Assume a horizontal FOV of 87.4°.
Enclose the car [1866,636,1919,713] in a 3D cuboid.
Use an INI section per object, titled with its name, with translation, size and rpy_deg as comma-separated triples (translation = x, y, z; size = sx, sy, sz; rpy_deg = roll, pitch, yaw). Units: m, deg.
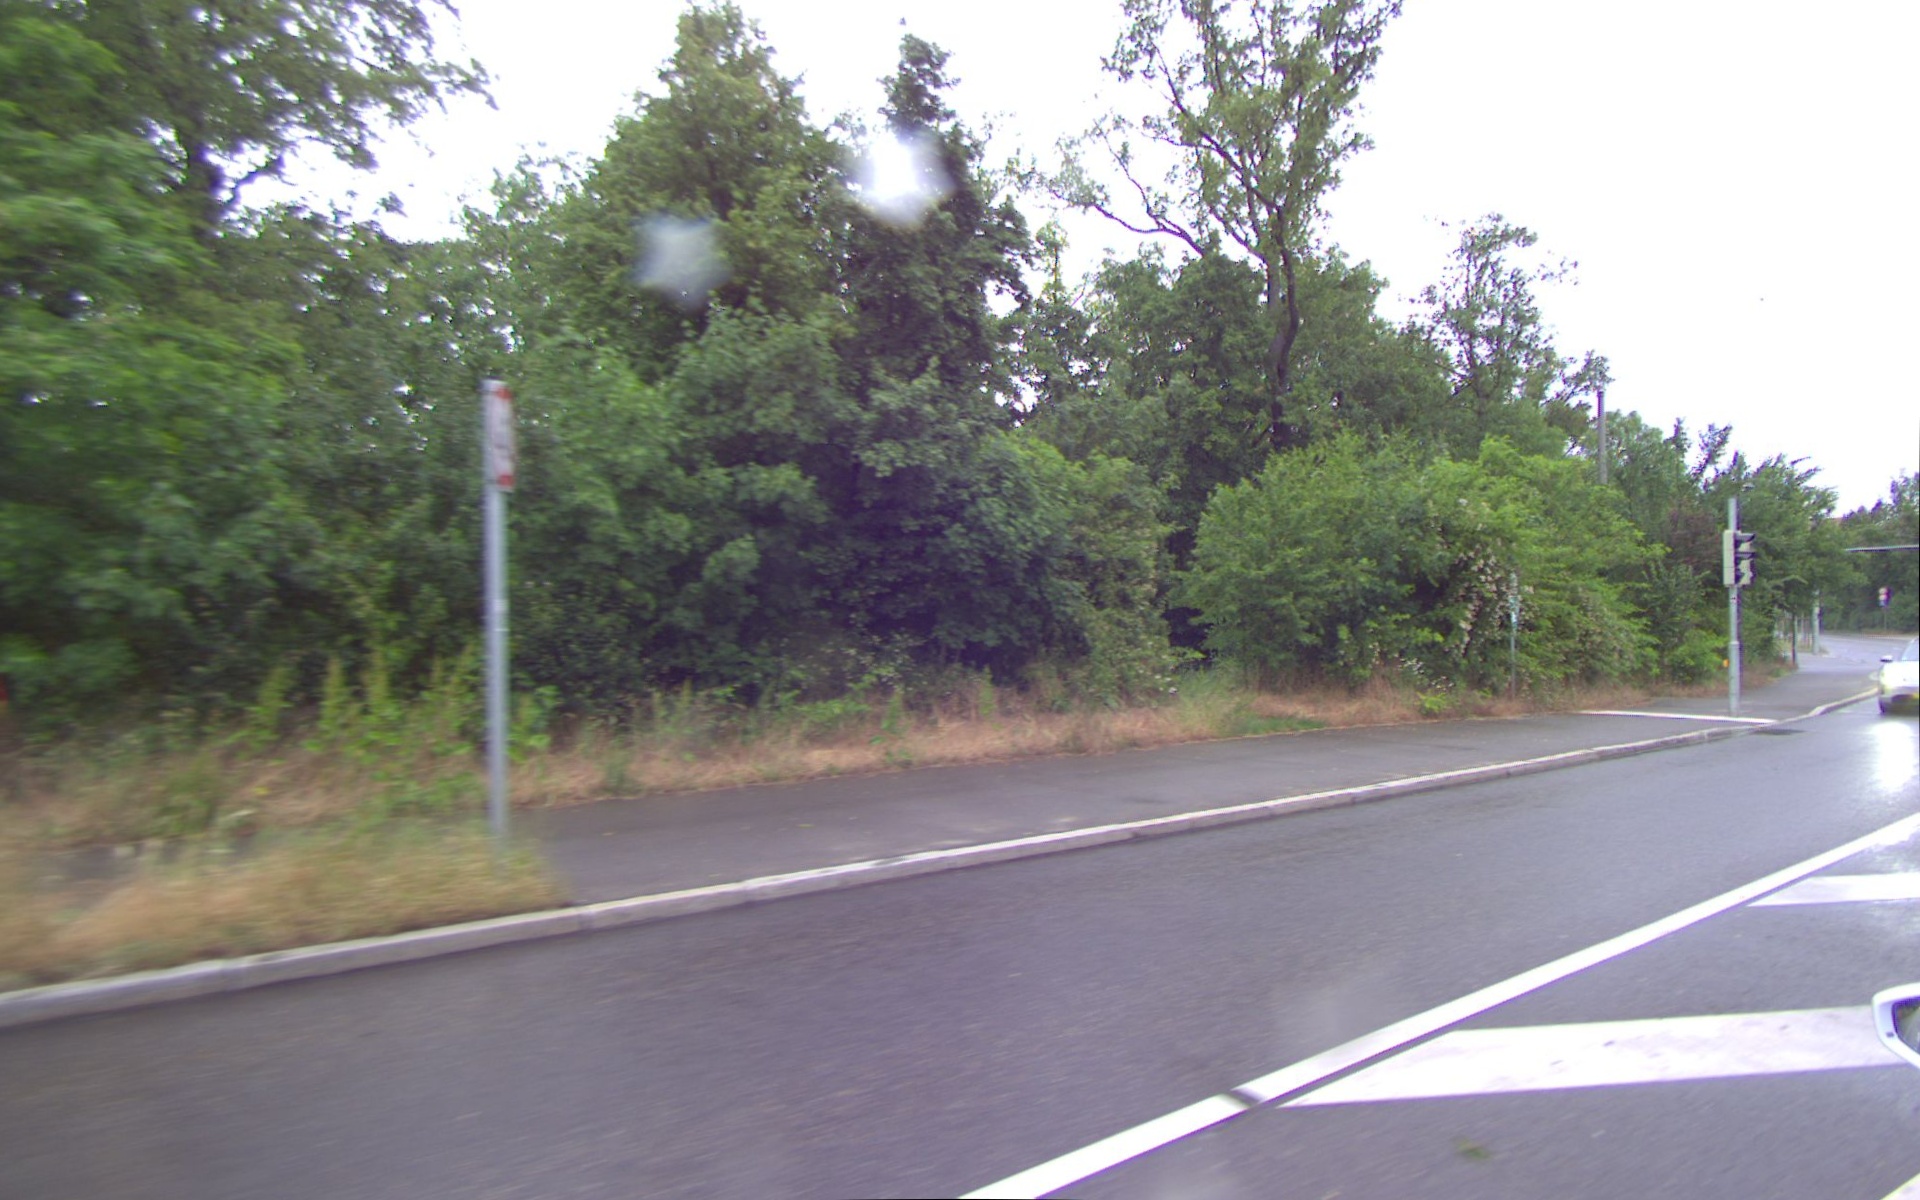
[car]
translation = 18.862, 1.355, 19.057
size = 4.326, 1.328, 1.977
rpy_deg = 1, -4, -41
